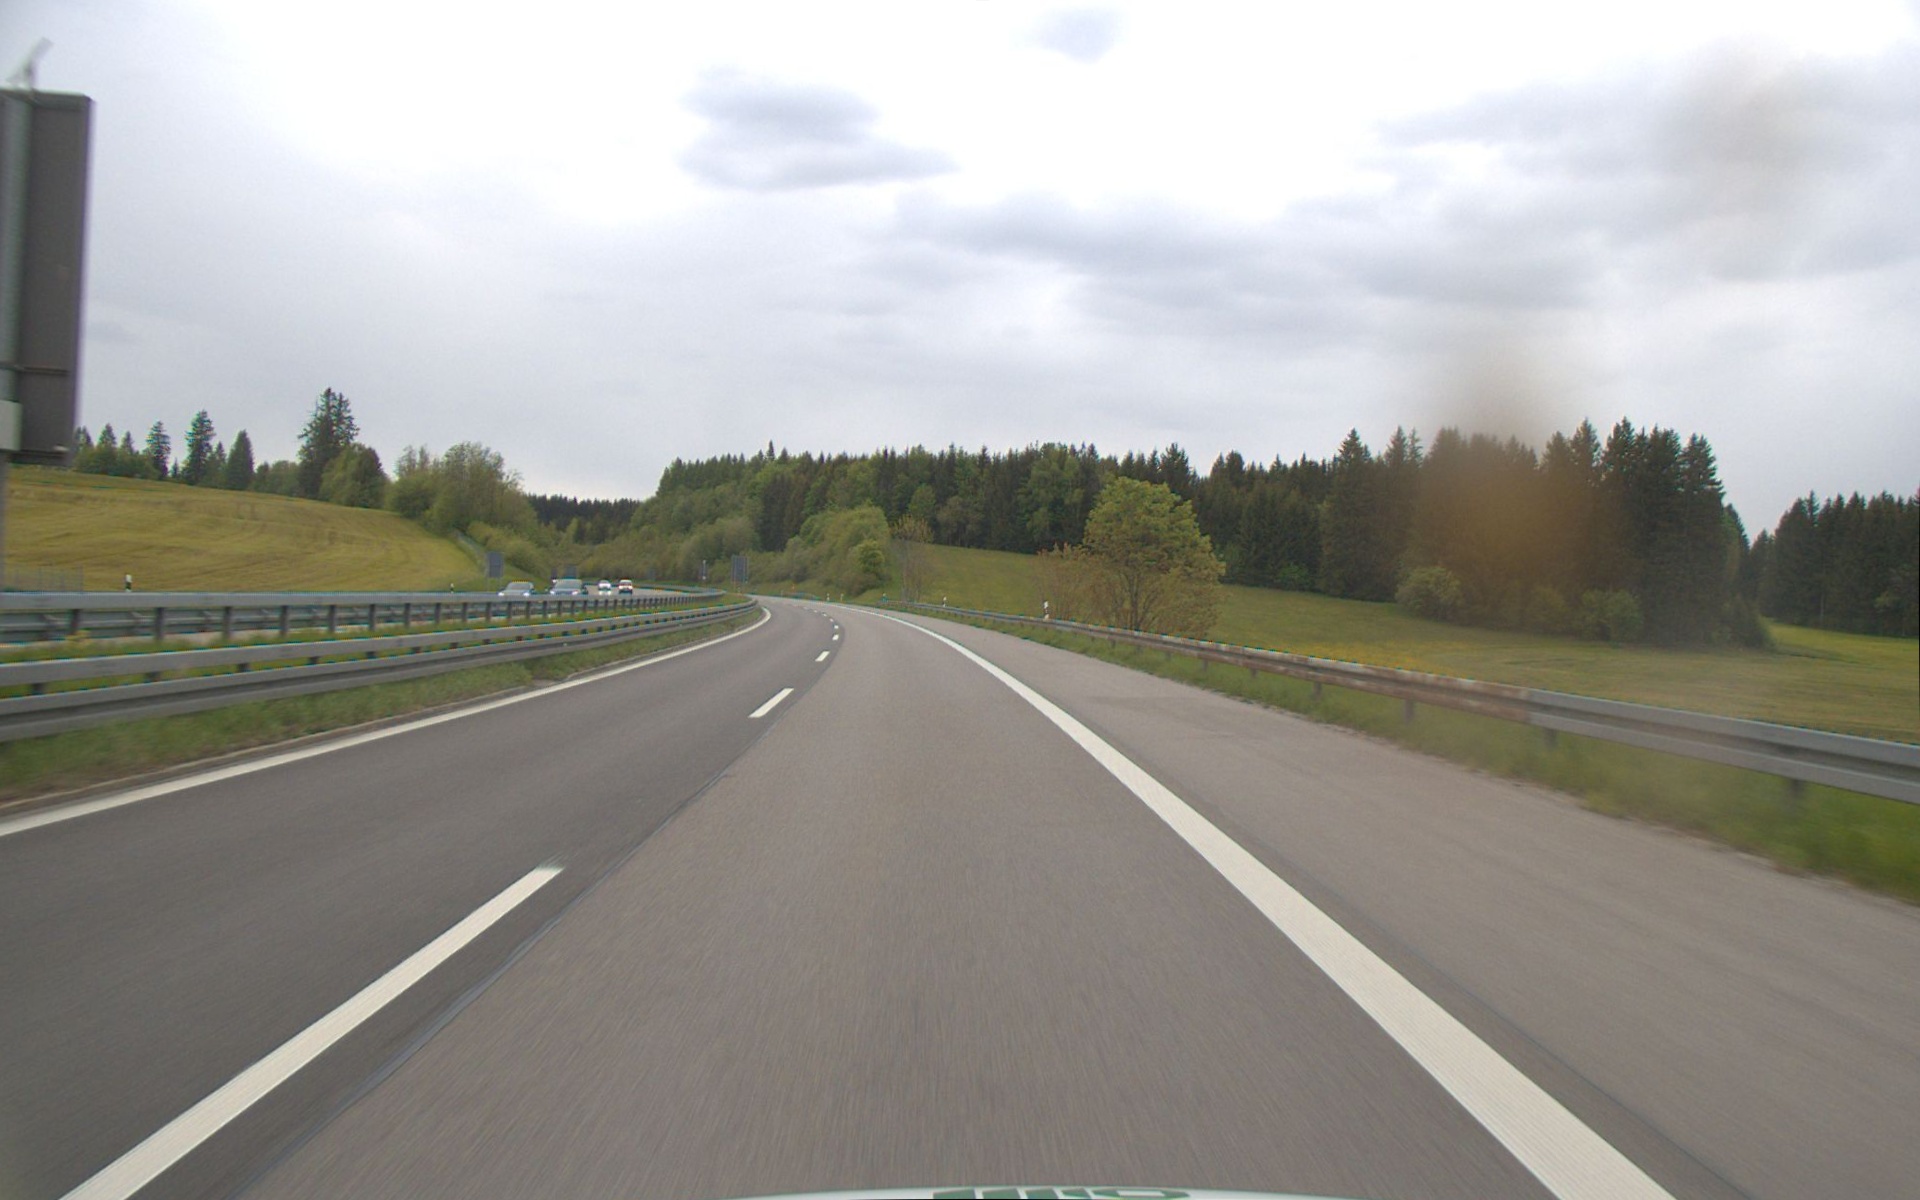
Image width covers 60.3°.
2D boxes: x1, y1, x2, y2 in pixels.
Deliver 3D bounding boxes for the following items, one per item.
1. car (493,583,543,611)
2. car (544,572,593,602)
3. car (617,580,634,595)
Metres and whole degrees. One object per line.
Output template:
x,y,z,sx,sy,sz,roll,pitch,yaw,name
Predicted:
-26.079,-0.188,97.757,1.955,1.465,4.995,4,0,-5,car
-21.377,-0.713,90.438,1.955,1.442,3.997,4,0,-5,car
-43.942,-1.625,217.290,1.959,1.715,4.611,4,0,-13,car
